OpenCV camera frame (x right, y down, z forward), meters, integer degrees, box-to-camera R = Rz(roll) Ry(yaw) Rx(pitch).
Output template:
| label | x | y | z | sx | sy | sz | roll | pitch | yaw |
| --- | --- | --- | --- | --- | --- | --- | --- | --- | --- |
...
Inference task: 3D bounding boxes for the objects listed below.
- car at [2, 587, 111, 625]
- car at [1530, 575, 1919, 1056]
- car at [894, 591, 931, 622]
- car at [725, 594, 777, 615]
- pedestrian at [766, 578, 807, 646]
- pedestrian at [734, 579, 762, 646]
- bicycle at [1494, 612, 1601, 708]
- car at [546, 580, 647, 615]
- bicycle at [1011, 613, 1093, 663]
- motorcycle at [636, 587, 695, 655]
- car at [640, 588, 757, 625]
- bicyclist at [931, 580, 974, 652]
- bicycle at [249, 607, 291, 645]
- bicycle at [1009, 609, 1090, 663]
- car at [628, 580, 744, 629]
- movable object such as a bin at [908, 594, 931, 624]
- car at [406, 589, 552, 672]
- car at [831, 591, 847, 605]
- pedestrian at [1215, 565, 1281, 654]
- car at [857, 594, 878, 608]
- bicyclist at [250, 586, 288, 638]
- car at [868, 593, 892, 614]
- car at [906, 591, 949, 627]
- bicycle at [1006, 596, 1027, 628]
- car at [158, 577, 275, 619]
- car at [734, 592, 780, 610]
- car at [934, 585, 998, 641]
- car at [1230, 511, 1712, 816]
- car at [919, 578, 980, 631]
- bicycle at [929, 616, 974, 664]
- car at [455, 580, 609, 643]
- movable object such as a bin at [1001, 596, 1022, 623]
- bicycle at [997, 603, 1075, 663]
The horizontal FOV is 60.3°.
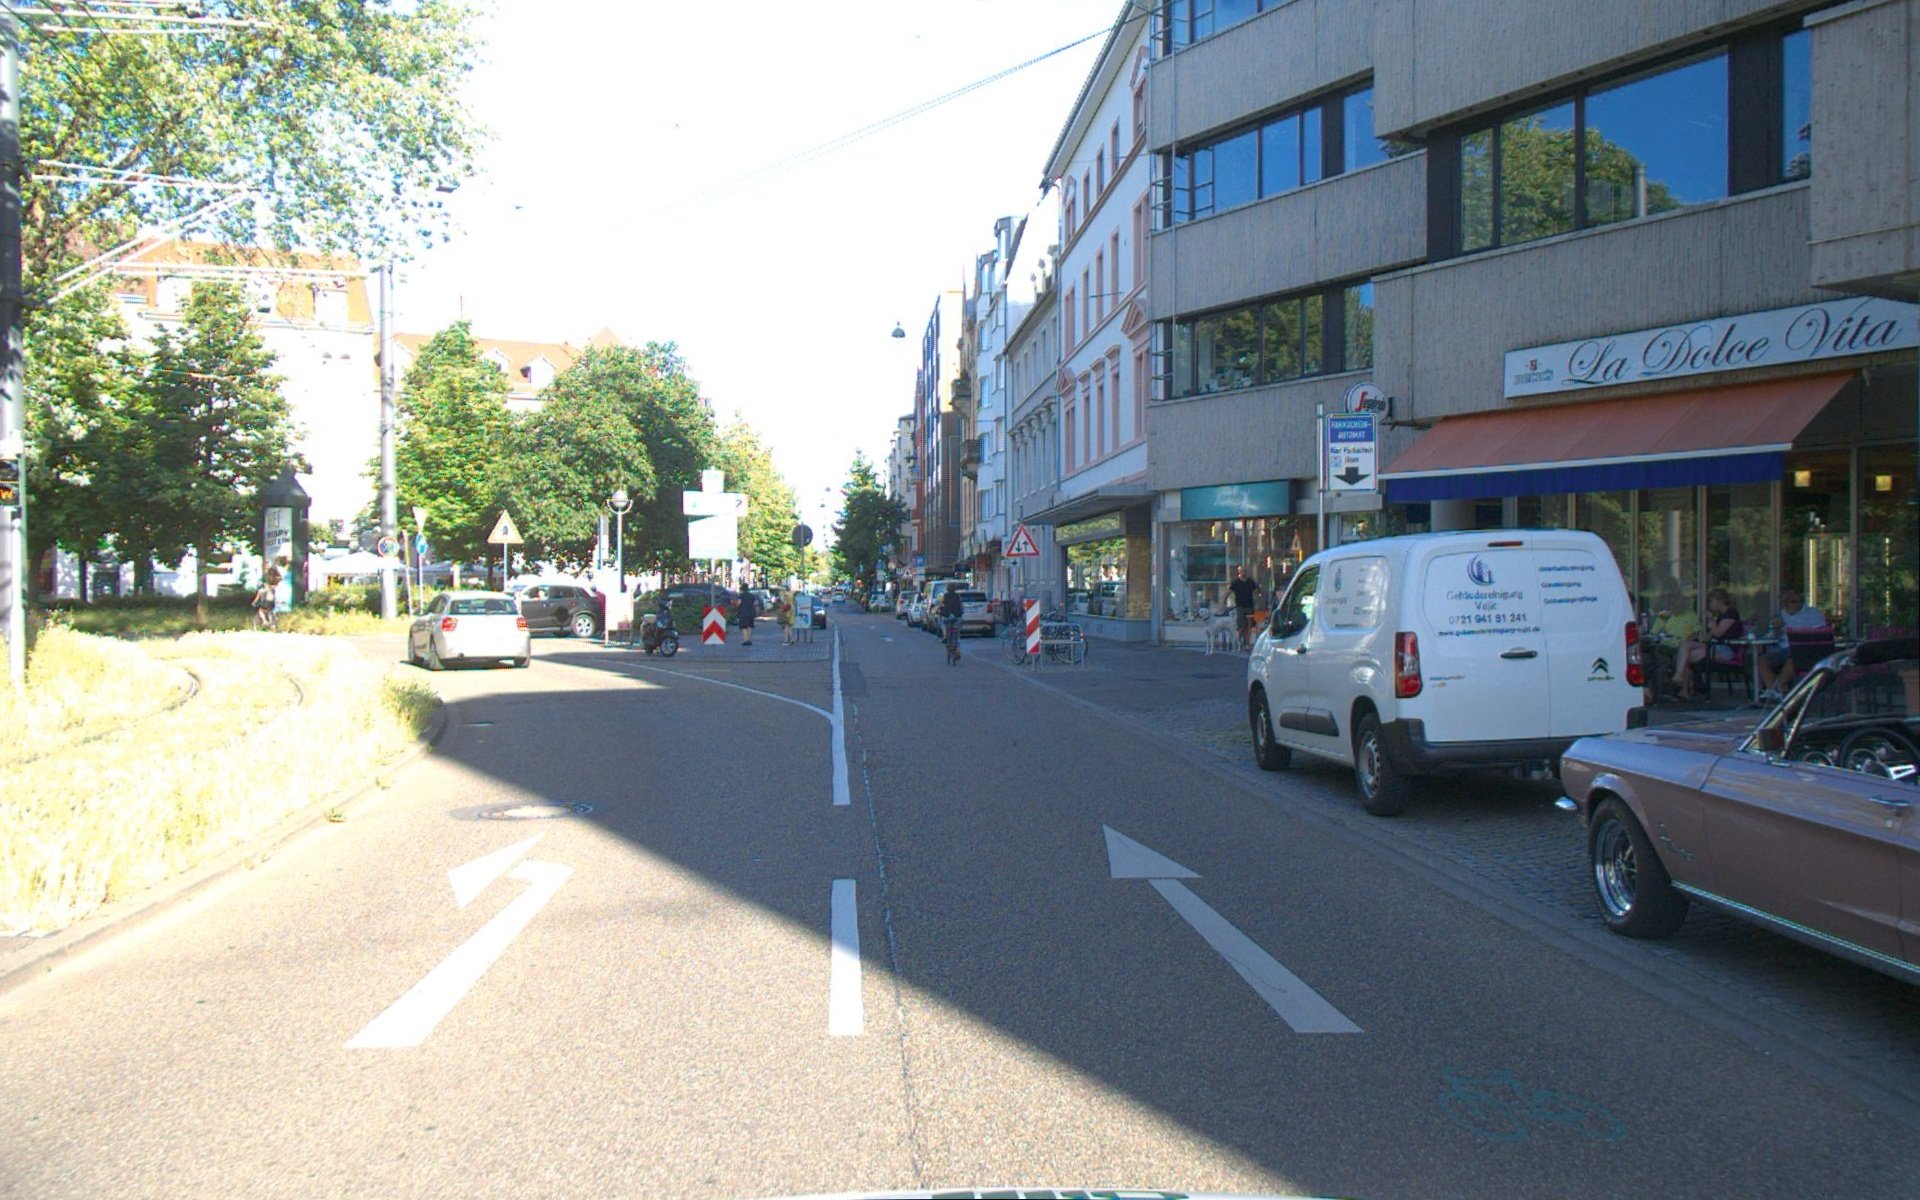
| label | x | y | z | sx | sy | sz | roll | pitch | yaw |
| --- | --- | --- | --- | --- | --- | --- | --- | --- | --- |
| car | -46.307 | 0.325 | 84.892 | 4.798 | 1.836 | 1.893 | 2 | -1 | -27 |
| car | 3.805 | 0.693 | 5.898 | 1.738 | 1.479 | 4.728 | 1 | -1 | -2 |
| car | -2.781 | 0.415 | 96.497 | 1.862 | 1.704 | 4.819 | 1 | -1 | -5 |
| car | -16.351 | 0.374 | 129.434 | 3.908 | 1.534 | 1.998 | 1 | -1 | -4 |
| pedestrian | -4.524 | 0.311 | 43.041 | 0.789 | 1.729 | 0.667 | 0 | -1 | 36 |
| pedestrian | -5.480 | 0.326 | 42.793 | 0.623 | 1.701 | 0.692 | 1 | -1 | -4 |
| bicycle | 6.736 | 0.673 | 19.035 | 0.552 | 1.052 | 1.643 | 1 | -1 | -4 |
| car | -20.586 | -0.110 | 93.802 | 5.211 | 1.831 | 2.140 | 2 | -1 | -32 |
| bicycle | 1.942 | 0.798 | 34.802 | 1.667 | 1.022 | 0.428 | 1 | -1 | 11 |
| motorcycle | -6.312 | 0.446 | 35.382 | 0.737 | 1.398 | 1.745 | 2 | -1 | -28 |
| car | -11.472 | 0.298 | 72.589 | 4.780 | 1.514 | 1.748 | 2 | -1 | -29 |
| bicyclist | -0.155 | 0.334 | 34.891 | 0.769 | 1.478 | 1.096 | 1 | -1 | 6 |
| bicycle | -20.877 | 0.772 | 50.014 | 0.802 | 1.087 | 2.555 | 2 | -1 | -31 |
| bicycle | 1.865 | 0.755 | 34.427 | 1.643 | 1.081 | 0.344 | 1 | -1 | 11 |
| car | -10.147 | 0.176 | 61.194 | 3.929 | 1.697 | 1.988 | 2 | 0 | -21 |
| movable object such as a bin | -2.109 | 0.453 | 86.047 | 1.051 | 1.482 | 1.492 | -3 | 1 | 0 |
| car | -9.244 | 0.573 | 31.545 | 1.969 | 1.448 | 4.161 | 2 | -1 | -26 |
| car | -15.077 | -0.269 | 206.238 | 1.833 | 1.583 | 3.996 | 1 | -1 | -4 |
| pedestrian | 5.920 | 0.196 | 34.039 | 1.109 | 1.773 | 1.022 | 1 | -1 | -2 |
| car | -9.500 | 0.094 | 169.708 | 1.955 | 1.478 | 3.996 | 1 | 0 | -5 |
| bicyclist | -20.933 | 0.364 | 50.123 | 0.920 | 1.534 | 0.816 | 2 | -1 | -32 |
| car | -6.658 | 0.319 | 137.662 | 1.953 | 1.646 | 4.008 | 2 | -1 | -2 |
| car | -1.485 | 0.442 | 75.353 | 1.685 | 1.541 | 3.579 | -2 | -1 | -5 |
| bicycle | 2.233 | 0.473 | 65.052 | 0.473 | 1.206 | 1.721 | -2 | -2 | 13 |
| car | -39.647 | -0.082 | 88.242 | 5.520 | 2.049 | 1.798 | 2 | -1 | -32 |
| car | -17.805 | 0.098 | 145.167 | 3.908 | 1.534 | 1.893 | 1 | -1 | -4 |
| car | 0.169 | 0.448 | 55.961 | 1.711 | 1.769 | 4.955 | 1 | -1 | -5 |
| car | 3.523 | 0.428 | 12.356 | 1.955 | 1.844 | 4.305 | 1 | -1 | -5 |
| car | -0.456 | 0.157 | 65.870 | 1.955 | 2.040 | 5.111 | 0 | 0 | -6 |
| bicycle | -0.156 | 0.834 | 34.882 | 0.638 | 0.975 | 2.700 | 1 | -1 | 6 |
| car | -12.037 | 0.313 | 46.614 | 3.829 | 1.711 | 1.788 | 0 | -1 | -37 |
| movable object such as a bin | 2.121 | 0.390 | 68.381 | 0.779 | 1.095 | 0.660 | -3 | -1 | -3 |
| bicycle | 1.663 | 0.712 | 36.209 | 1.587 | 1.265 | 0.659 | 1 | -1 | 16 |
